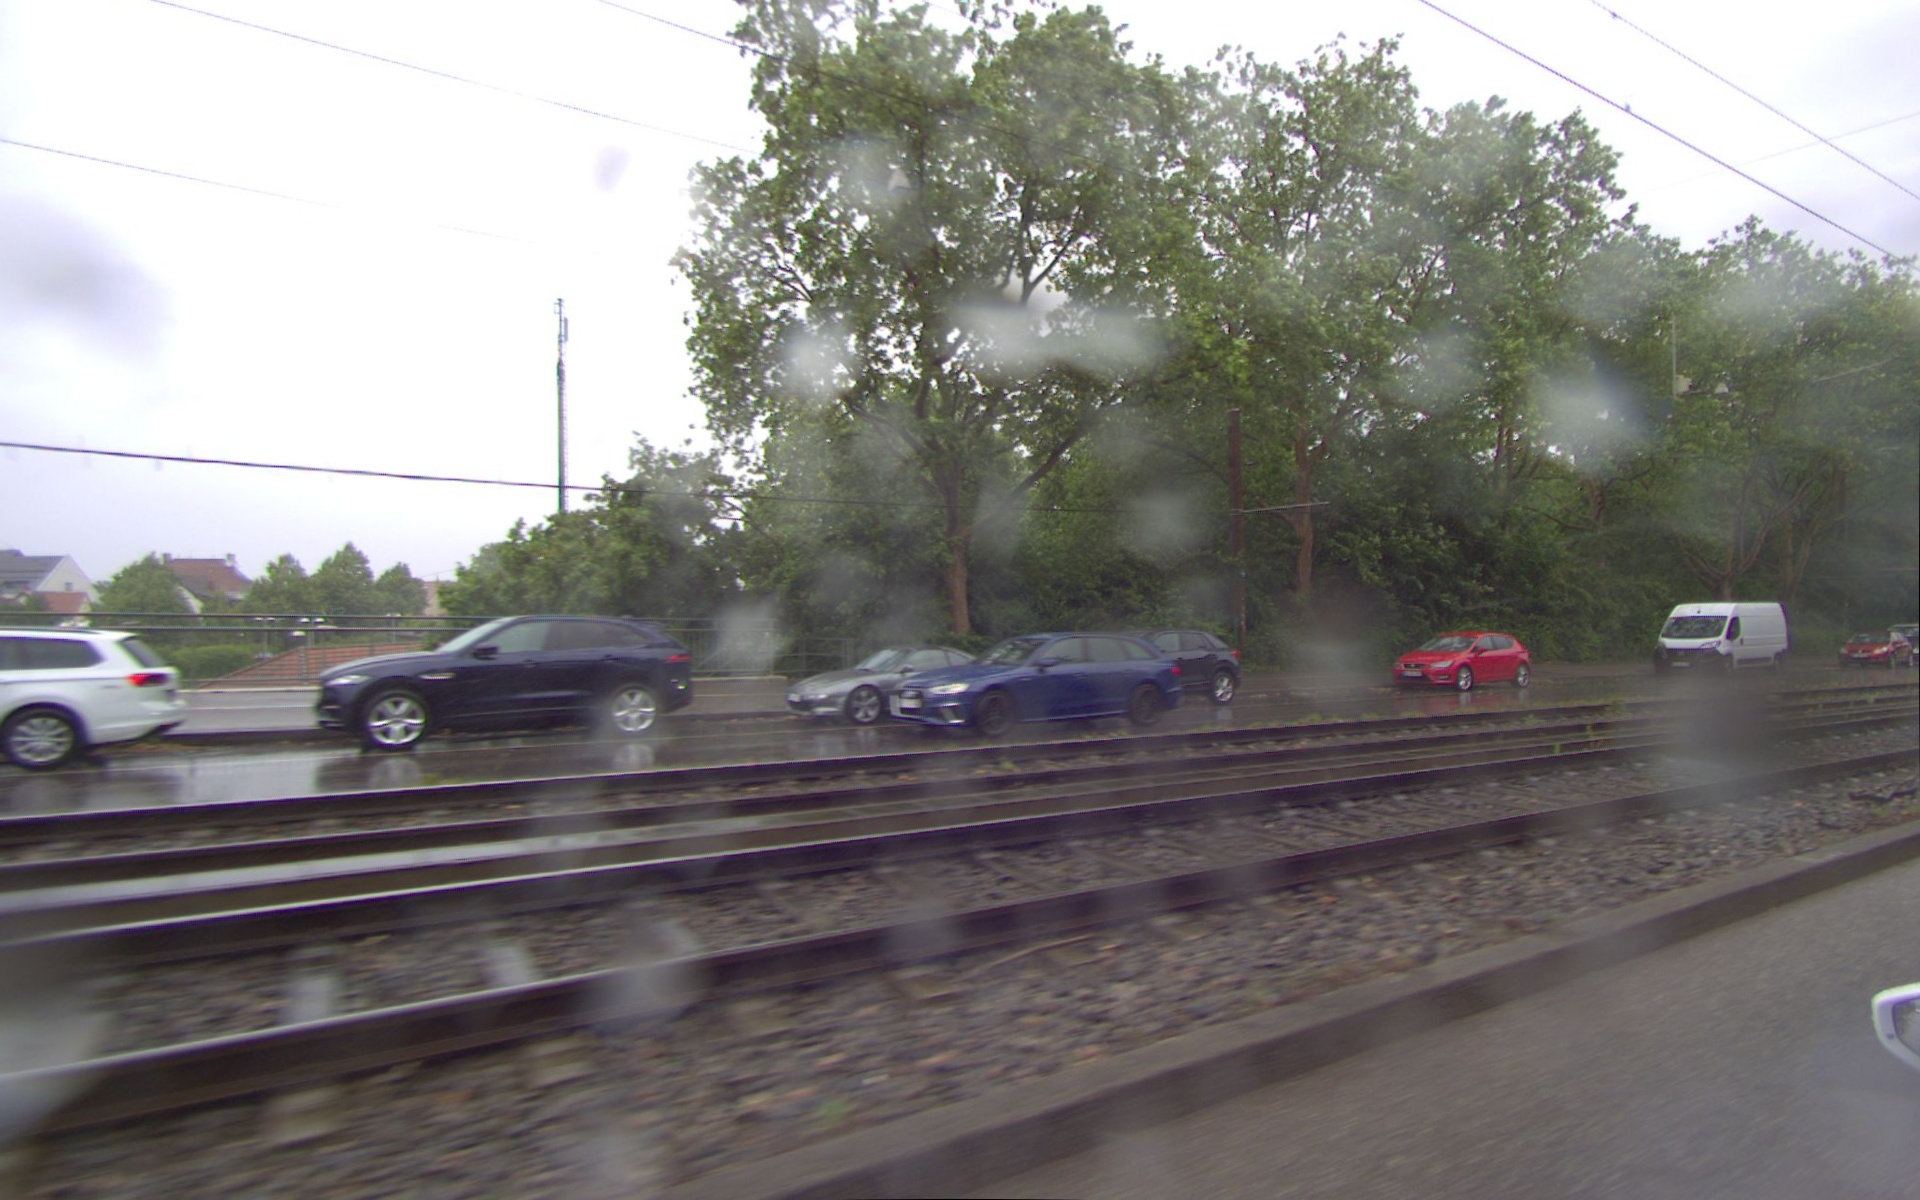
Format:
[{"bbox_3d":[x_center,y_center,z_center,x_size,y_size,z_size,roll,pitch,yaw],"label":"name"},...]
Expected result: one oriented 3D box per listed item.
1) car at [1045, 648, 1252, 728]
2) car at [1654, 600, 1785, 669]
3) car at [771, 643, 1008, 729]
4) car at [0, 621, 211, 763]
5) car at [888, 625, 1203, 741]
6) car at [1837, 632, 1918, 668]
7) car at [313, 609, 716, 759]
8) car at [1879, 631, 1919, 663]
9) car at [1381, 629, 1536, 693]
[{"bbox_3d":[3.749,1.661,19.748,4.048,1.309,1.498,0,-2,-32],"label":"car"},{"bbox_3d":[25.988,1.125,34.301,5.752,2.198,1.731,0,-2,-34],"label":"car"},{"bbox_3d":[-1.131,1.370,16.726,3.671,1.188,1.498,0,-2,-32],"label":"car"},{"bbox_3d":[-10.865,1.030,10.424,4.841,1.418,1.498,0,-6,-33],"label":"car"},{"bbox_3d":[1.353,1.135,14.851,4.654,1.419,1.498,0,-2,-32],"label":"car"},{"bbox_3d":[38.858,2.093,42.535,3.982,1.368,1.498,0,-2,-32],"label":"car"},{"bbox_3d":[-5.870,1.010,13.543,4.782,1.694,1.497,0,-2,-34],"label":"car"},{"bbox_3d":[43.611,2.113,45.806,3.982,1.368,1.498,0,-2,-32],"label":"car"},{"bbox_3d":[12.827,1.528,25.779,4.214,1.461,1.601,0,-2,-32],"label":"car"}]
